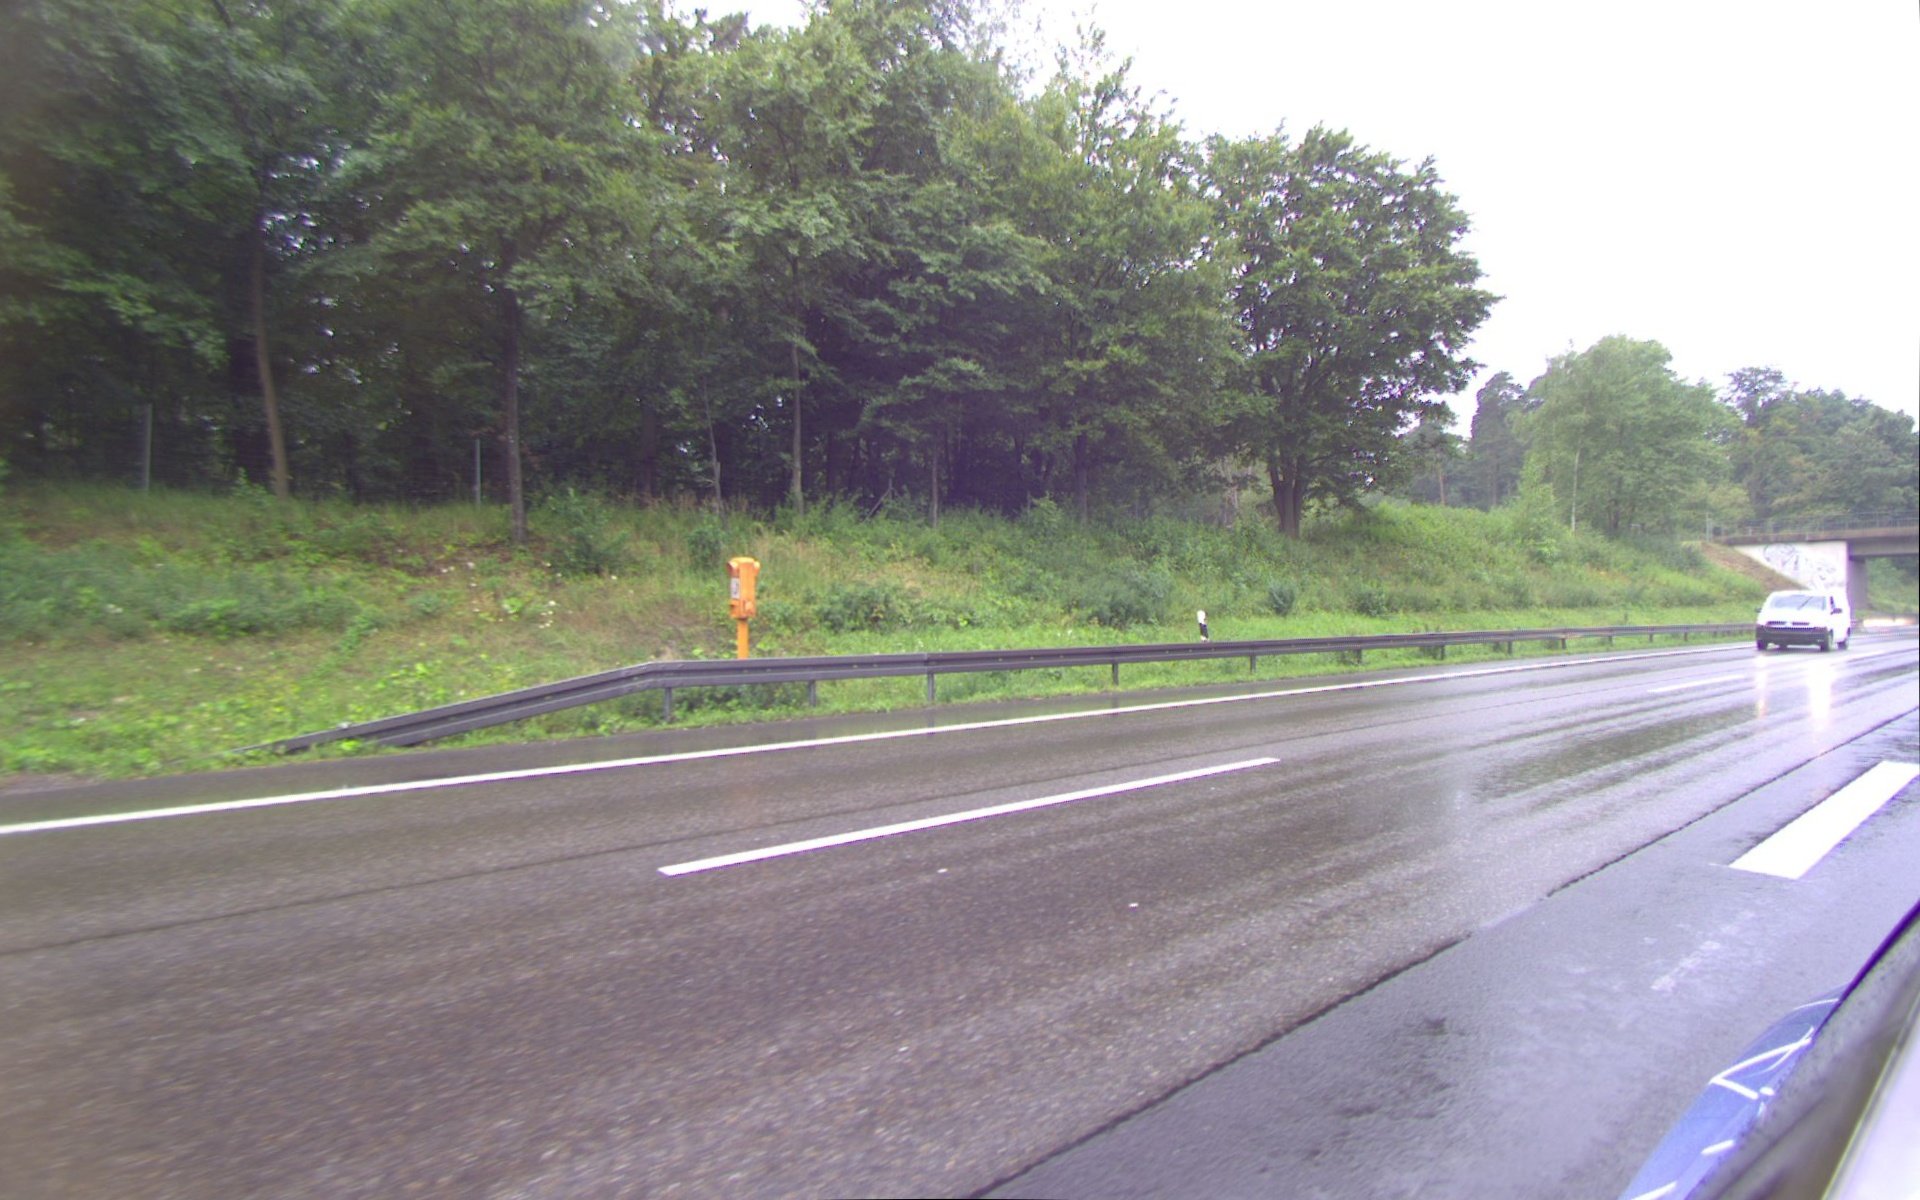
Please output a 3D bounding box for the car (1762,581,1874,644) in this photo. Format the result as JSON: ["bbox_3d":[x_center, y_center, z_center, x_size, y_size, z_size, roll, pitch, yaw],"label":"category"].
[{"bbox_3d":[28.364,0.382,33.416,4.681,1.945,1.994,0,0,-39],"label":"car"}]
